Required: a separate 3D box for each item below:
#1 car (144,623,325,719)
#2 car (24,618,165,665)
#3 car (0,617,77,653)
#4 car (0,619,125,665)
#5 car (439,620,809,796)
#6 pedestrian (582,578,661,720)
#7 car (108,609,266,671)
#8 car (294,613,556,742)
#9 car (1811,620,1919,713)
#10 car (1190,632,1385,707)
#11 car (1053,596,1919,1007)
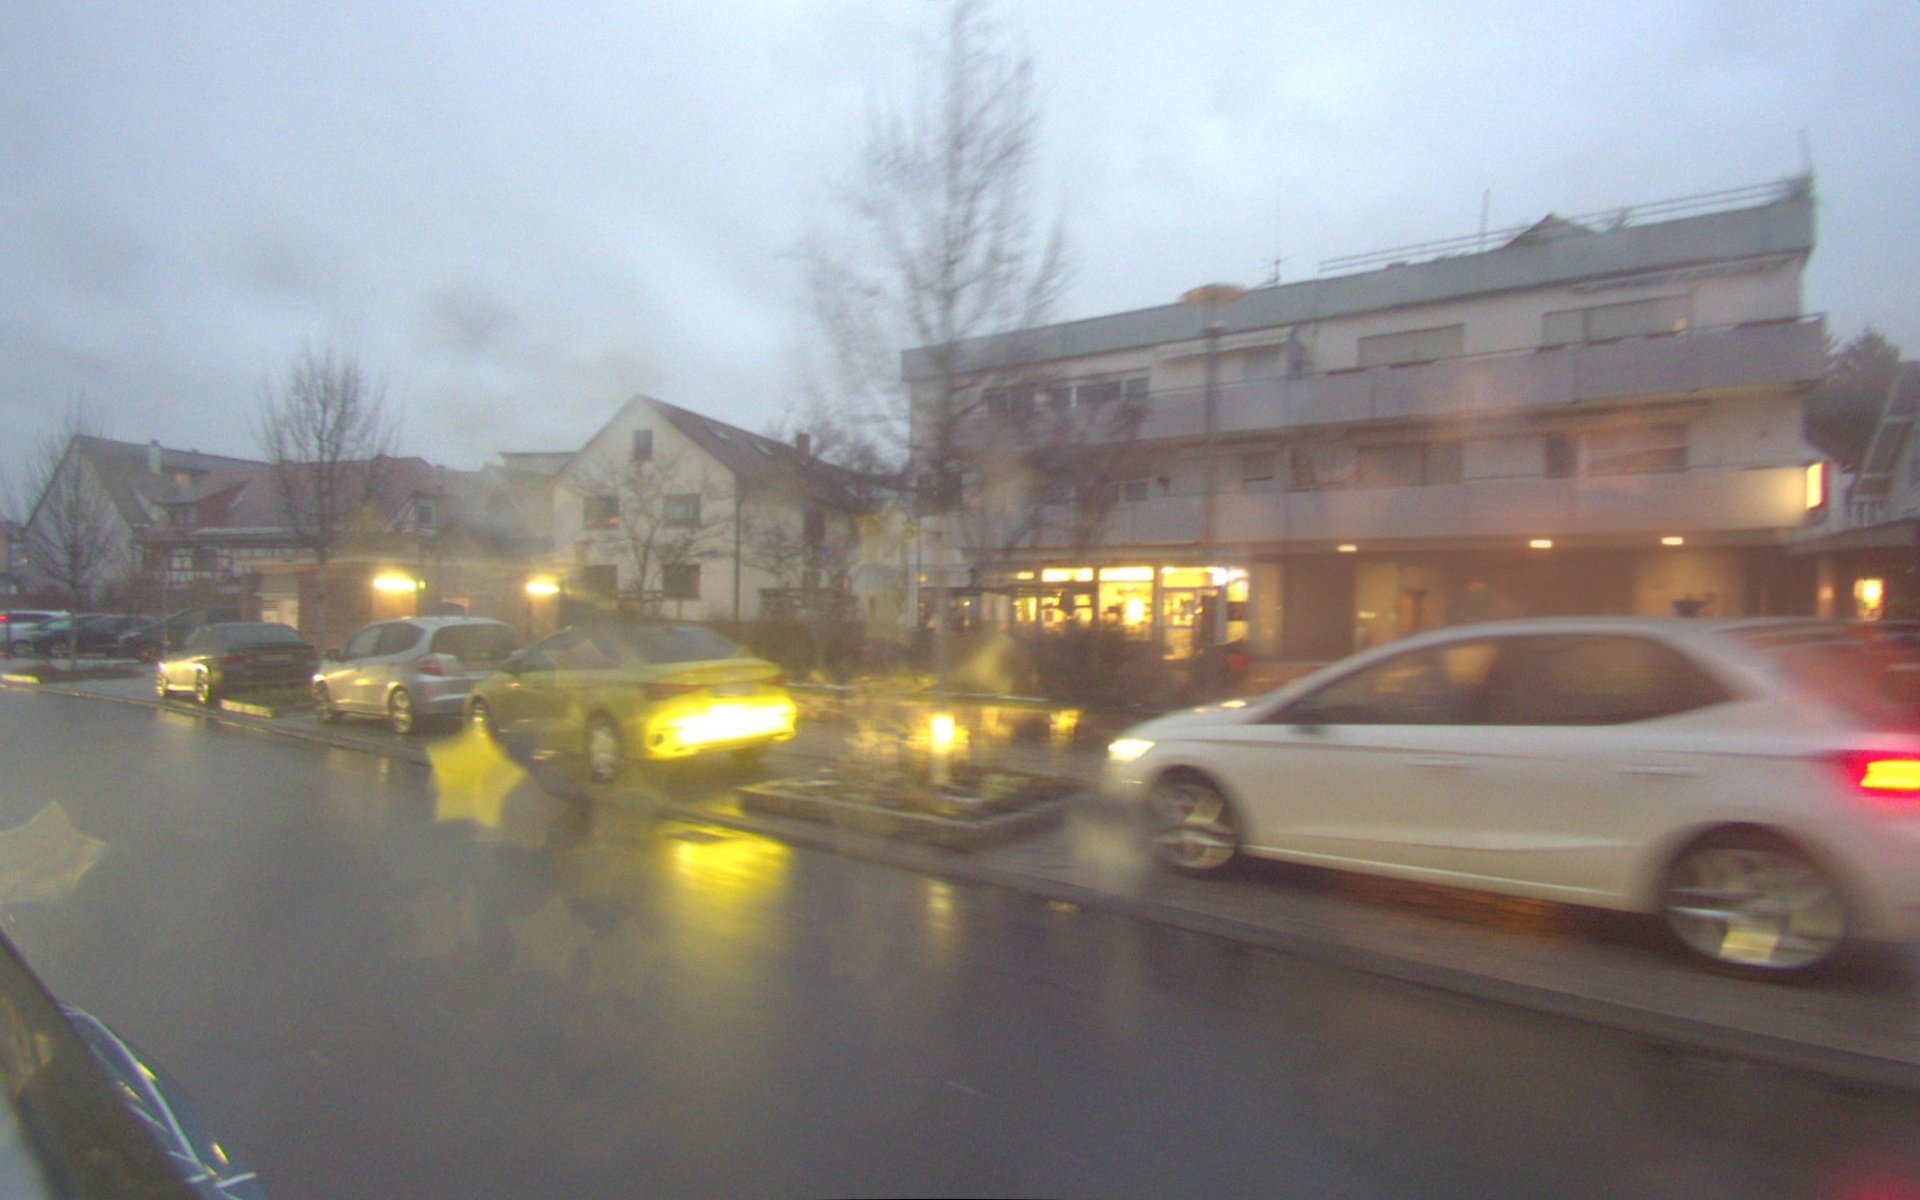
[{"bbox_3d":[-13.573,1.230,18.857,4.136,1.546,1.817,-1,0,41],"label":"car"},{"bbox_3d":[-31.205,1.456,36.563,3.785,1.557,2.002,-1,0,-42],"label":"car"},{"bbox_3d":[-36.613,1.348,38.875,3.941,1.309,2.001,-1,0,-44],"label":"car"},{"bbox_3d":[-33.705,1.541,37.729,3.936,1.559,2.004,-1,0,-39],"label":"car"},{"bbox_3d":[-3.649,0.960,10.548,4.375,1.442,1.677,-2,-1,41],"label":"car"},{"bbox_3d":[-5.027,0.709,15.022,0.889,2.029,0.792,1,-2,-40],"label":"pedestrian"},{"bbox_3d":[-24.688,1.244,32.487,3.934,1.776,1.437,-2,0,-35],"label":"car"},{"bbox_3d":[-7.575,0.981,14.246,3.665,1.546,1.858,-1,0,36],"label":"car"},{"bbox_3d":[20.146,1.405,21.904,1.993,1.858,3.958,-1,-3,31],"label":"car"},{"bbox_3d":[7.649,1.564,23.694,3.989,1.576,1.977,-1,-3,33],"label":"car"},{"bbox_3d":[2.728,0.753,5.562,4.180,1.500,1.766,-1,0,41],"label":"car"}]
